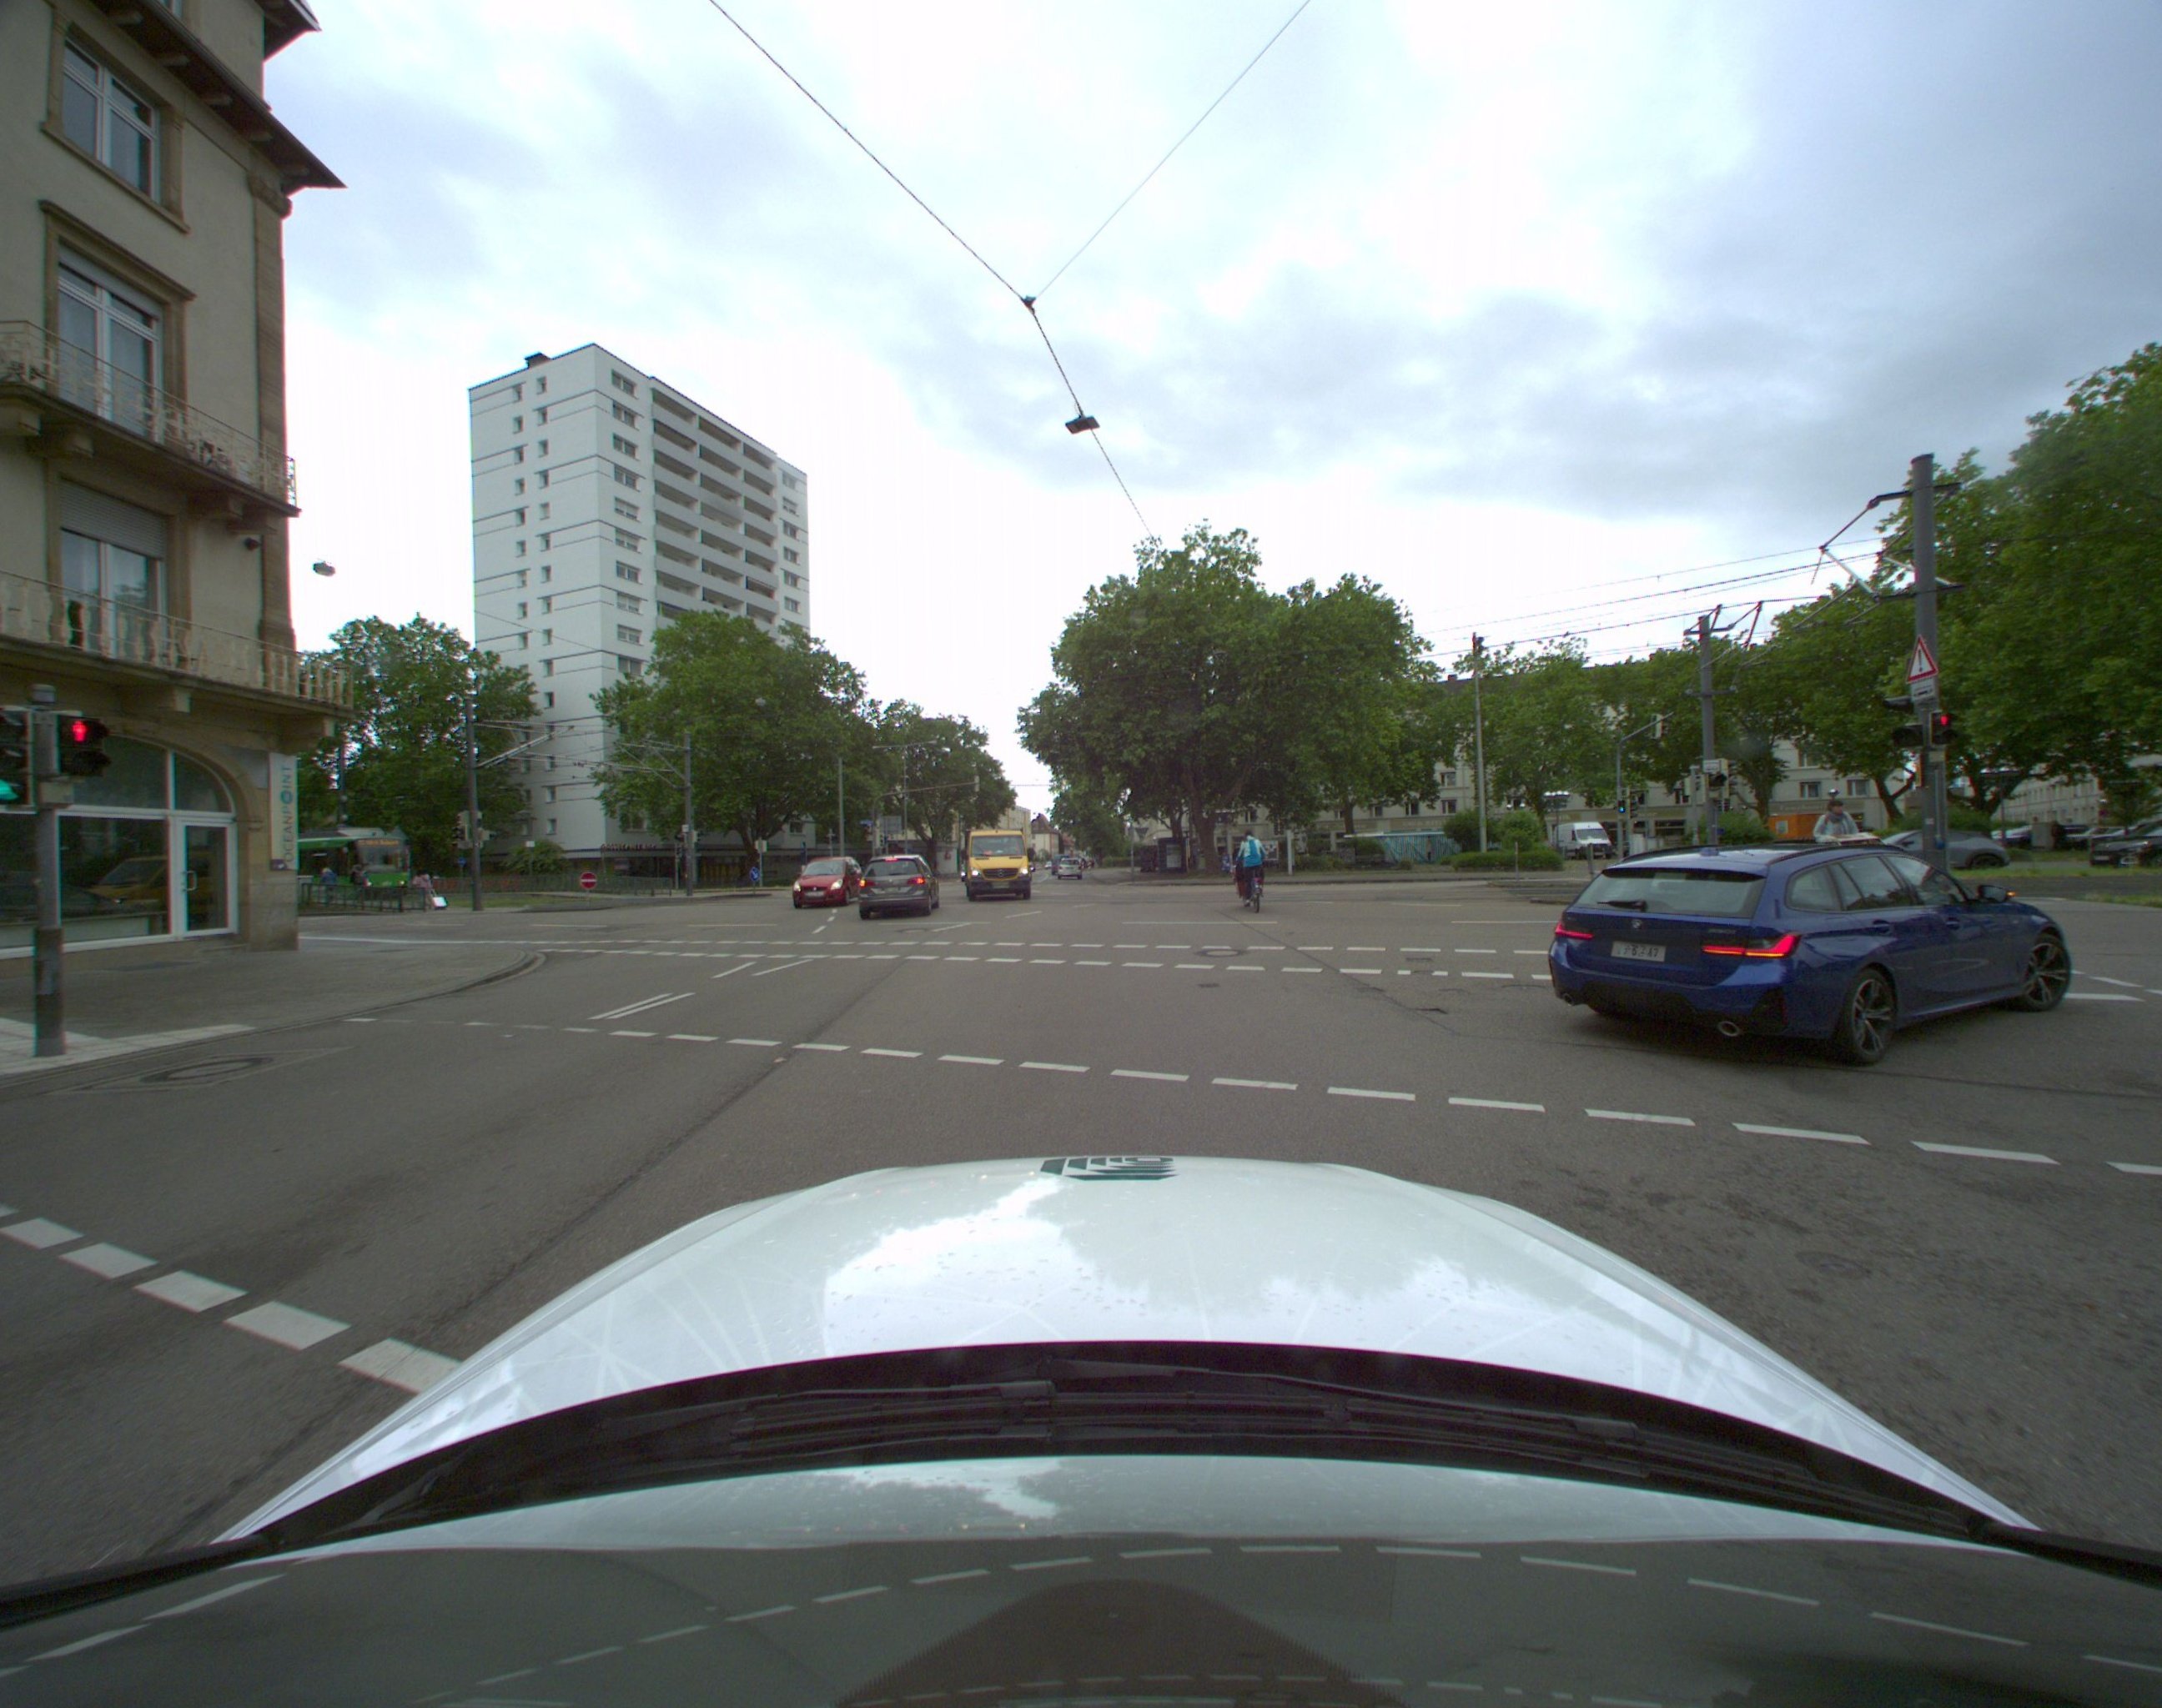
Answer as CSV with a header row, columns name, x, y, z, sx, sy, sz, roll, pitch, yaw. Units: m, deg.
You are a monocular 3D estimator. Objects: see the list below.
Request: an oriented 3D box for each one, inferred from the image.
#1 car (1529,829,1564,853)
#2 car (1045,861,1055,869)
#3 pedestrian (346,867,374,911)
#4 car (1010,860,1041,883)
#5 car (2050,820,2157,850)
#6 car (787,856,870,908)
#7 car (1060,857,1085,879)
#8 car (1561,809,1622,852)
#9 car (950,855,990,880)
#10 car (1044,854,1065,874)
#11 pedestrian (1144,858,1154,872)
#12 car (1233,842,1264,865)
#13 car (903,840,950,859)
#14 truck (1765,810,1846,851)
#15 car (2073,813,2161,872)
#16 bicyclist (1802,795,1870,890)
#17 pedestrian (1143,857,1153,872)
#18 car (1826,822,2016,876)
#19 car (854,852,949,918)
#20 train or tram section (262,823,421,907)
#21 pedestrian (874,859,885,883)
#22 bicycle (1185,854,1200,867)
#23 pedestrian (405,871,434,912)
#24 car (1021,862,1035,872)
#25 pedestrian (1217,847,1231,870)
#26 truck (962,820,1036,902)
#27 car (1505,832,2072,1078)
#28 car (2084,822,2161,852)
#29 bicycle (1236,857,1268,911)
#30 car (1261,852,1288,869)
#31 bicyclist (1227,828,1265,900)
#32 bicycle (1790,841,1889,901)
name,x,y,z,sx,sy,sz,roll,pitch,yaw
car,31.418,-0.898,55.039,1.649,1.515,3.961,-2,0,25
car,-6.035,2.211,160.141,1.762,1.486,3.998,-2,0,-1
pedestrian,-30.726,1.492,34.720,0.724,1.864,0.591,-2,0,22
car,-3.638,1.122,53.516,1.804,1.427,4.314,-2,0,-2
car,61.815,-1.107,49.284,3.770,1.622,1.520,-2,-1,18
car,-8.243,0.865,26.938,1.729,1.525,3.993,-2,0,-5
car,-0.670,1.065,63.460,1.810,1.592,3.997,-2,0,-2
car,34.249,-1.544,54.816,2.216,2.639,5.474,-2,0,19
car,-8.675,0.993,64.021,1.858,1.826,5.233,-2,0,5
car,-2.680,0.970,81.471,1.989,1.848,3.996,-2,0,-3
pedestrian,6.340,1.008,75.801,0.851,1.314,0.762,-2,-1,-2
car,16.610,-0.047,80.757,2.155,2.200,4.022,-2,-1,23
car,-14.972,-0.421,78.713,4.012,1.706,1.980,-1,-1,-30
truck,48.655,-1.517,54.824,2.364,2.591,4.014,-2,0,12
car,33.186,-0.395,24.485,3.903,1.711,1.696,-2,-1,21
bicyclist,13.606,-0.203,14.701,0.609,1.654,0.758,-2,-1,20
pedestrian,6.311,0.971,76.857,0.815,1.372,0.762,-2,-1,-2
car,27.345,-0.151,26.684,3.942,1.561,1.696,-2,-1,21
car,-4.629,0.754,21.549,1.728,1.525,3.996,-2,0,-3
train or tram section,-35.851,0.579,39.476,7.175,3.761,2.700,-2,-1,21
pedestrian,-15.532,1.300,62.884,0.571,1.785,0.621,-2,0,7
bicycle,10.674,0.587,78.183,0.771,1.168,2.346,-2,-1,24
pedestrian,-26.095,1.475,32.132,0.724,1.602,0.591,-2,0,22
car,-7.703,1.860,117.978,1.848,1.453,4.165,-2,0,-1
pedestrian,10.899,0.323,62.200,0.782,1.743,0.924,-2,-1,-3
truck,-2.899,0.216,27.577,2.075,2.408,5.444,-3,0,-9
car,5.798,0.603,6.659,4.325,1.405,1.807,-2,0,-24
car,60.964,-0.985,46.887,3.770,1.622,1.520,-2,-1,18
bicycle,3.815,0.638,18.320,0.491,1.098,2.143,-2,0,7
car,18.959,0.592,79.650,1.780,1.543,3.848,-2,0,24
bicyclist,3.653,0.215,18.056,0.682,1.518,1.060,-2,0,6
bicycle,13.619,0.274,14.690,0.546,0.995,2.071,-2,0,21
